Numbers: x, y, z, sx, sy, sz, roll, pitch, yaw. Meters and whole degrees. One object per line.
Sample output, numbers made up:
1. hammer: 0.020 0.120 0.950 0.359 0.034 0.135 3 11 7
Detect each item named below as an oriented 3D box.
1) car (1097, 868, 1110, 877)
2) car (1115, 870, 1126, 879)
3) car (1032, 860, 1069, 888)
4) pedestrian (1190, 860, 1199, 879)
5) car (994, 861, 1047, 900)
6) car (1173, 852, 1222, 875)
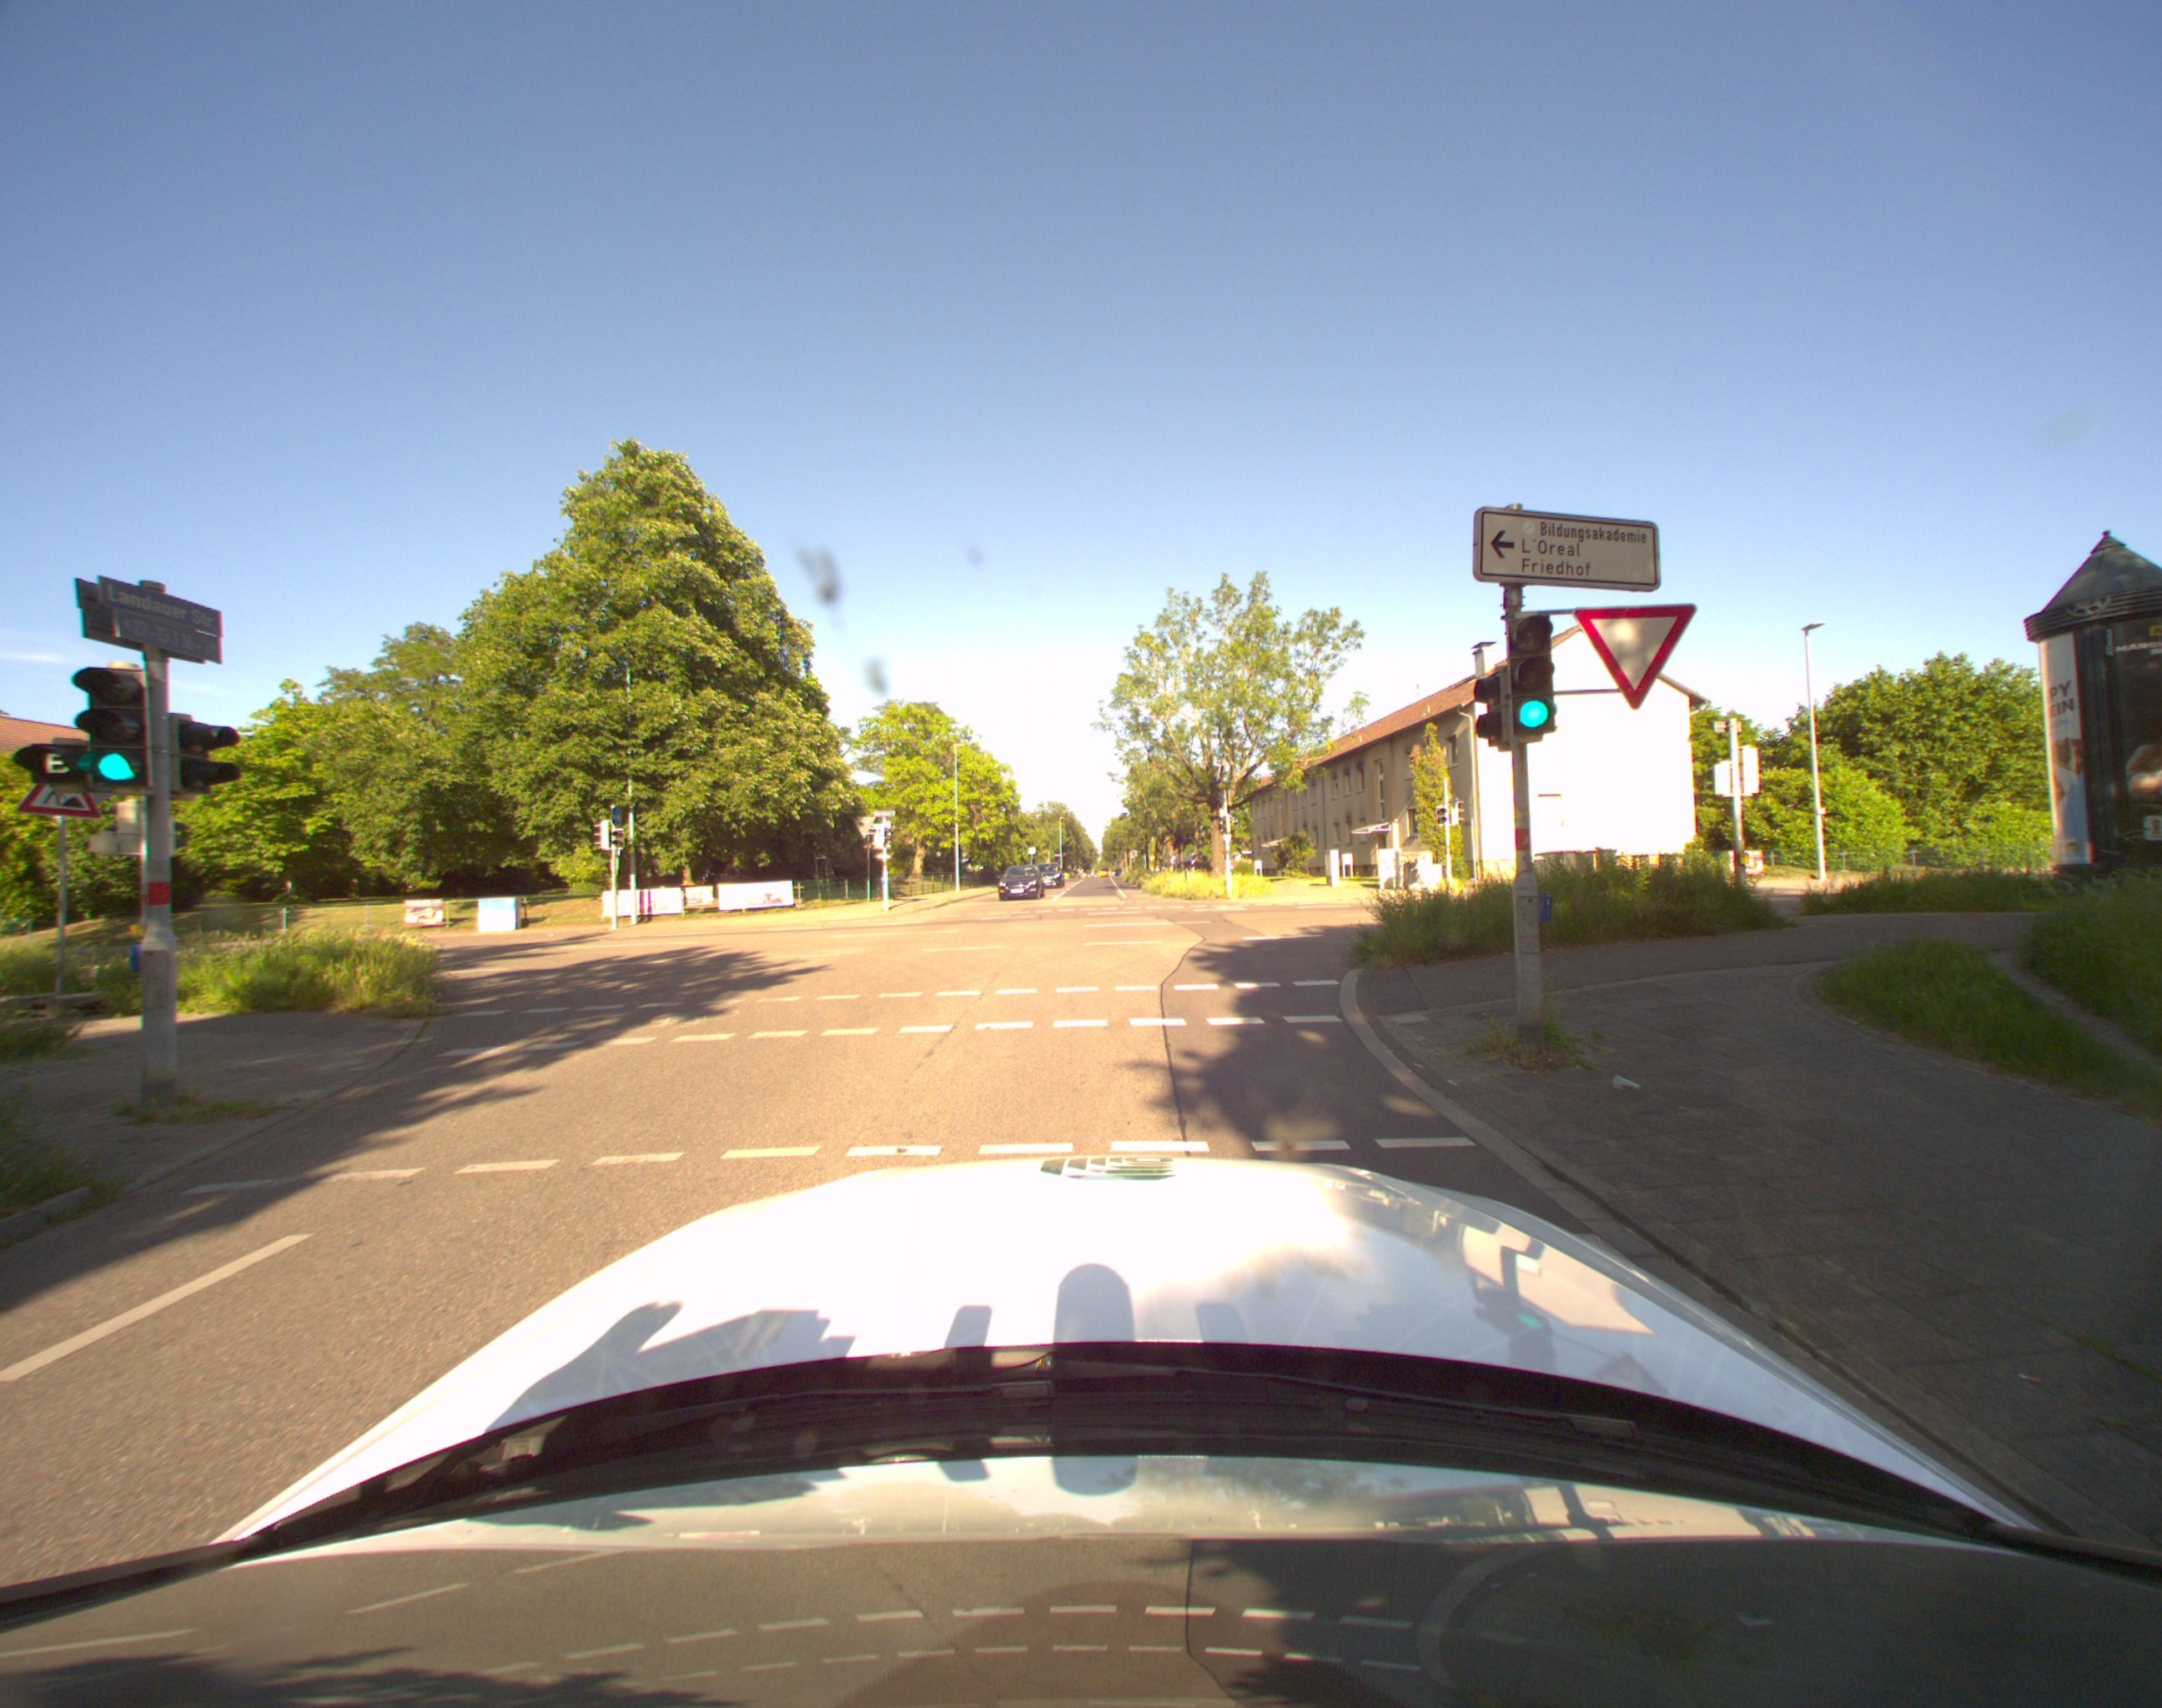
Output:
1. car: 3.896 3.263 141.931 1.883 1.479 3.884 1 -2 -2
2. car: 7.285 3.828 151.105 1.846 1.626 4.470 -3 -2 1
3. car: -1.888 1.235 51.881 1.806 1.618 4.397 -4 -1 4
4. pedestrian: 10.538 1.425 75.750 0.635 1.706 0.612 -4 0 0
5. car: -2.497 1.108 34.398 1.800 1.455 3.850 -3 -2 1
6. car: 14.273 1.163 99.993 5.581 2.539 2.263 -2 -1 -3
